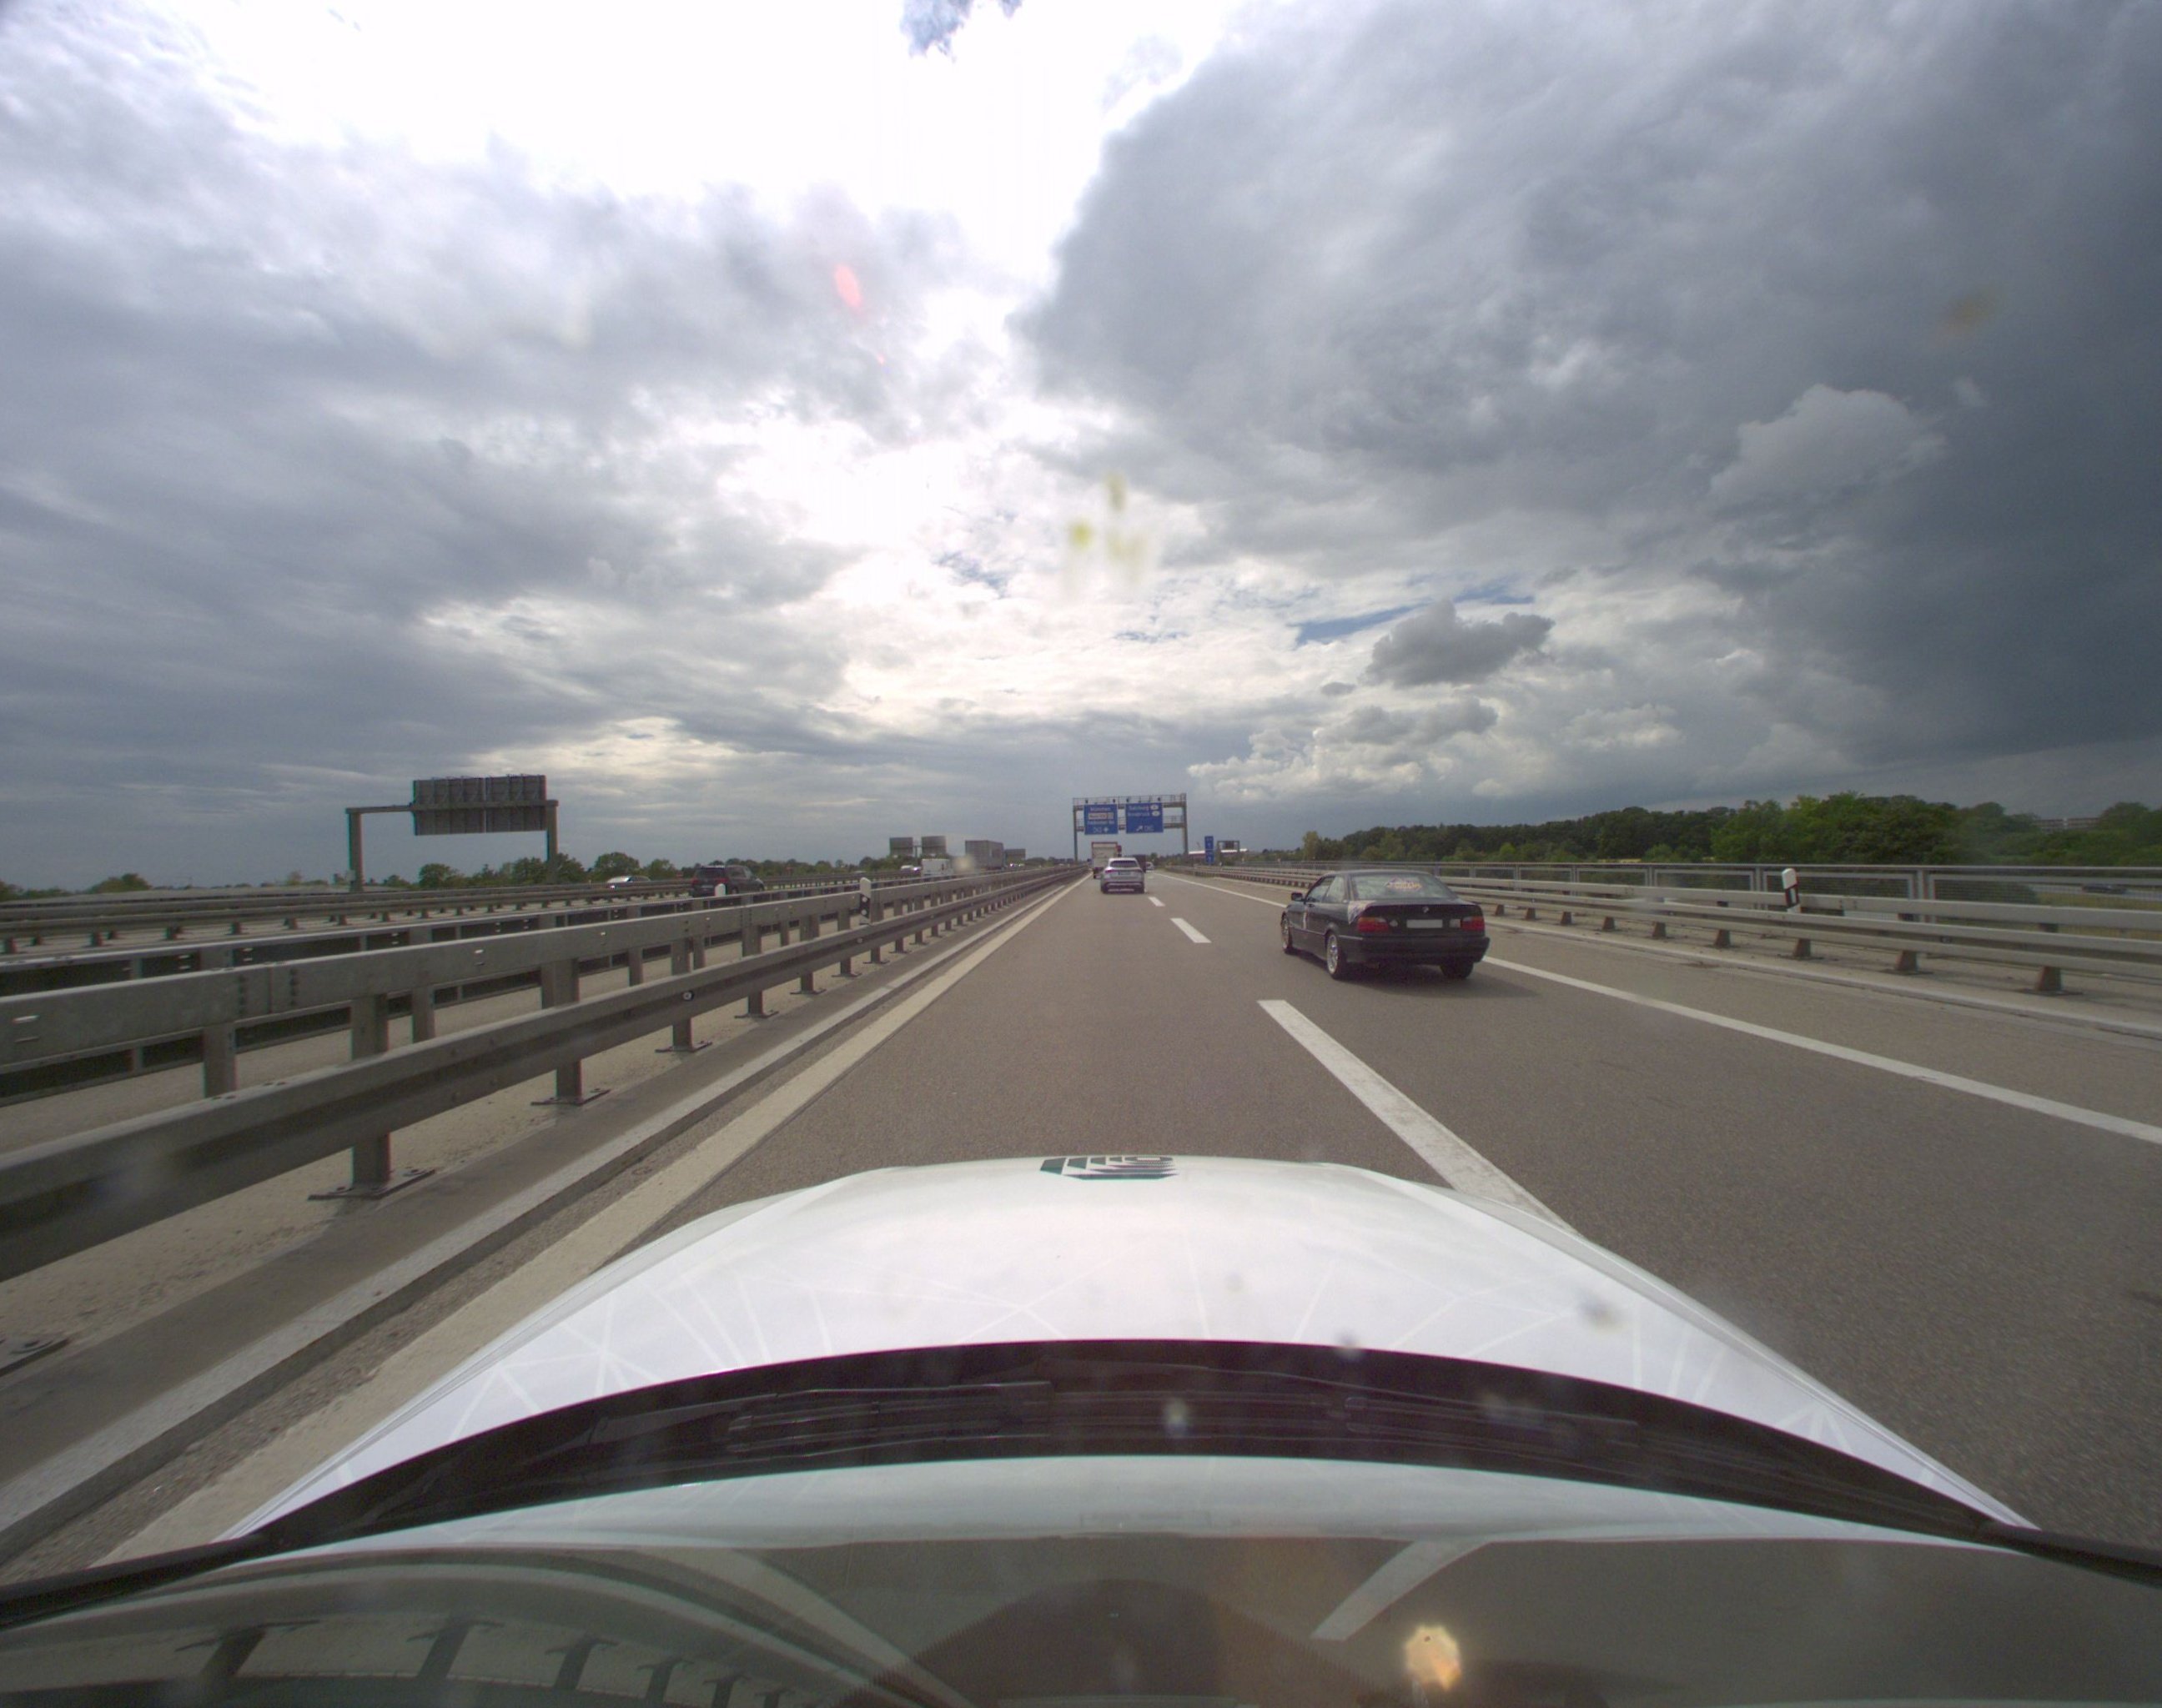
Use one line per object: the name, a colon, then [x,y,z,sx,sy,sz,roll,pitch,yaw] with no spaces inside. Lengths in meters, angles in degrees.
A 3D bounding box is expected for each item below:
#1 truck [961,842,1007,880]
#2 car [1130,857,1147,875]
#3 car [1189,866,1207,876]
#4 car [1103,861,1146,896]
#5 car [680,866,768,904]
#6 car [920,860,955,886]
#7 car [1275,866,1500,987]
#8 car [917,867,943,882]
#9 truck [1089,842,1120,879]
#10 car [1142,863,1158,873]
truck: [-11.014,0.716,94.383,3.172,4.019,16.076,0,0,1]
car: [7.232,1.464,102.827,1.899,2.262,4.650,0,0,1]
car: [24.641,3.605,172.043,1.761,2.014,4.023,2,-1,42]
car: [1.973,1.083,37.752,1.813,1.514,4.000,0,0,0]
car: [-16.070,1.346,36.968,1.874,1.546,4.616,0,0,1]
car: [-11.750,1.494,66.845,1.986,2.013,4.376,0,0,2]
car: [3.924,0.835,11.248,1.697,1.281,4.369,0,0,3]
car: [-15.464,2.049,83.598,1.790,1.420,4.004,0,0,3]
truck: [2.081,0.660,72.467,2.559,3.126,8.637,0,-1,2]
car: [12.494,2.545,147.411,1.977,1.709,4.019,0,0,18]
